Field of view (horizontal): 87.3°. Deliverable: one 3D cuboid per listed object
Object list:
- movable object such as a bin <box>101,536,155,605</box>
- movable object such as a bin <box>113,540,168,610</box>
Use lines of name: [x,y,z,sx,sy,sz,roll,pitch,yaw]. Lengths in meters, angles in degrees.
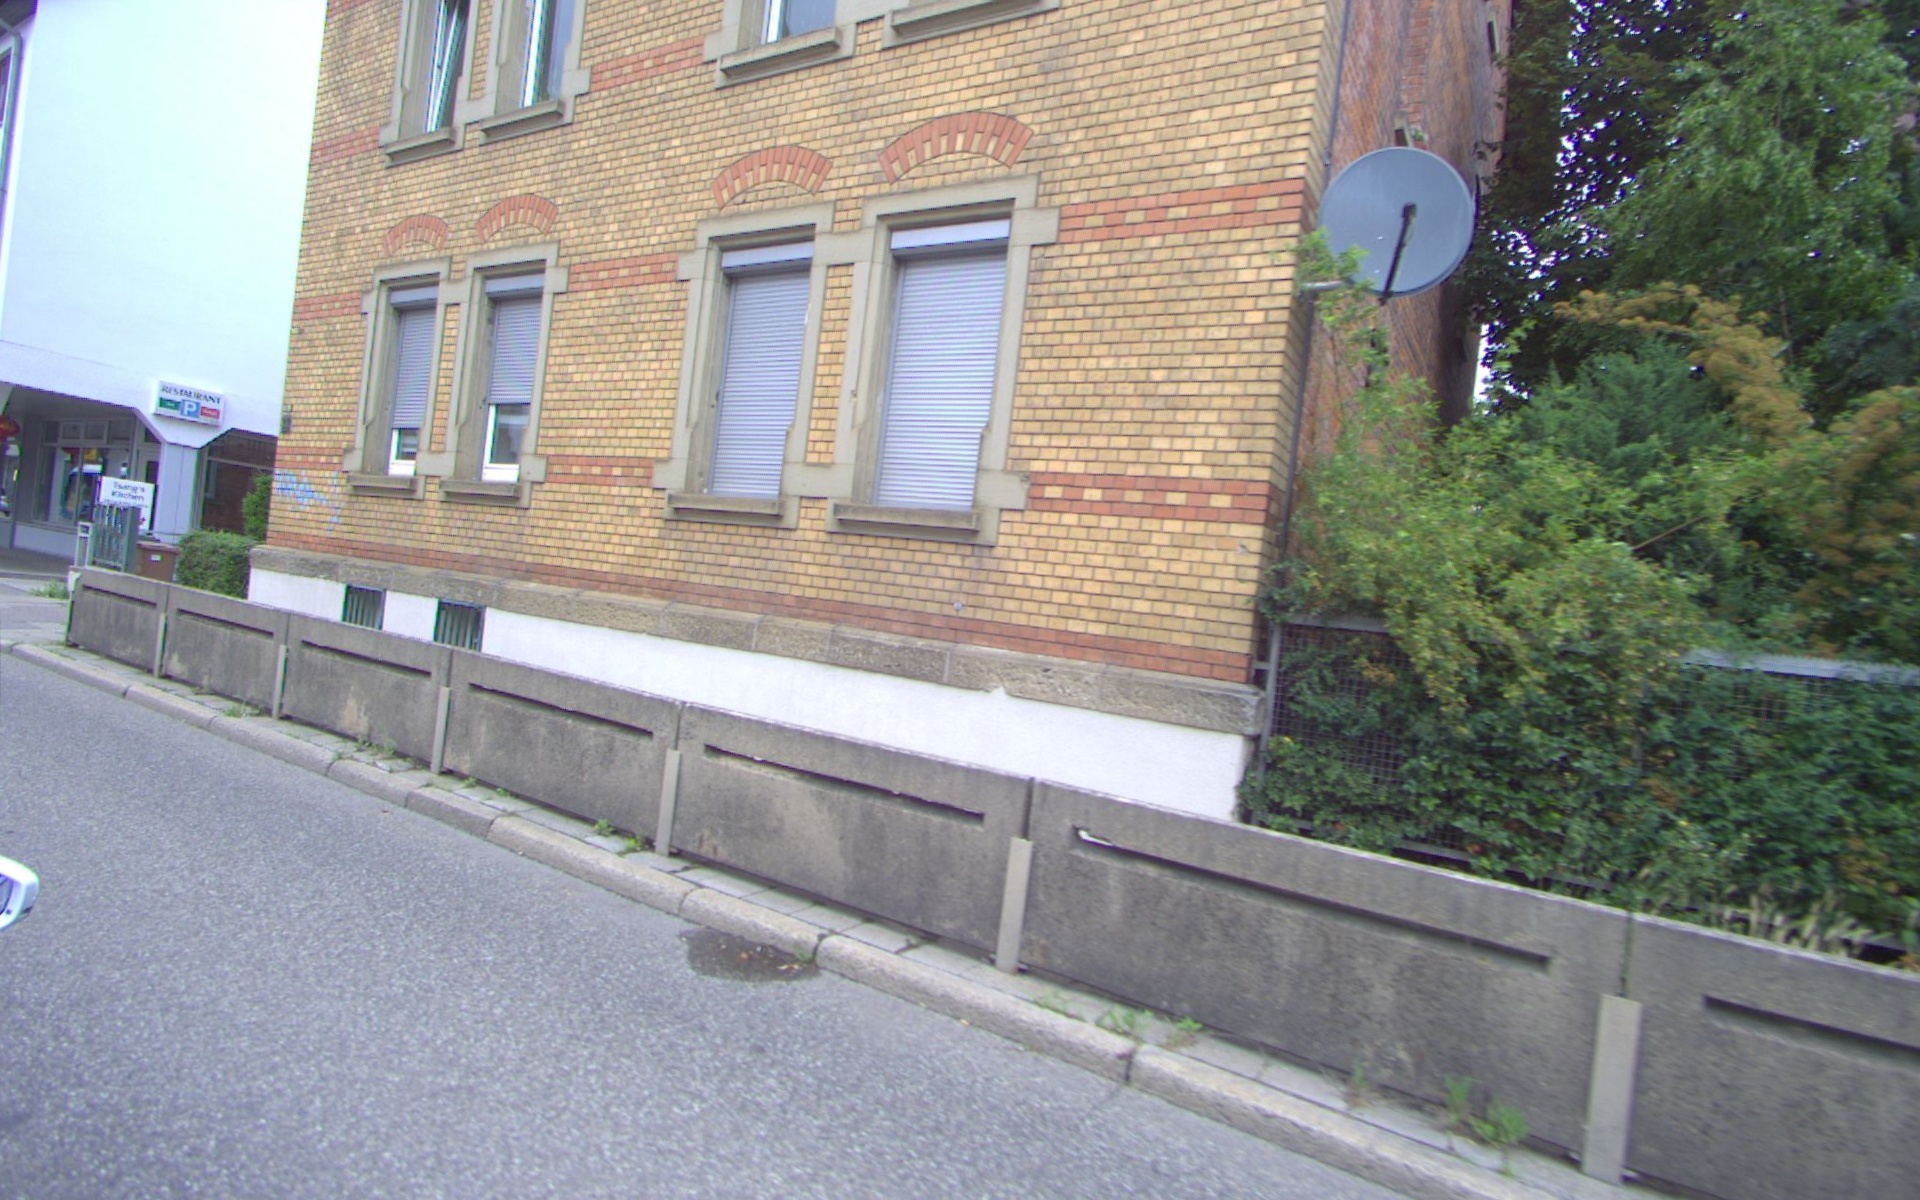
movable object such as a bin: [-11.948,-0.425,14.448,0.449,0.915,0.398,7,0,32]
movable object such as a bin: [-11.475,-0.347,14.085,0.449,0.915,0.398,7,0,32]
